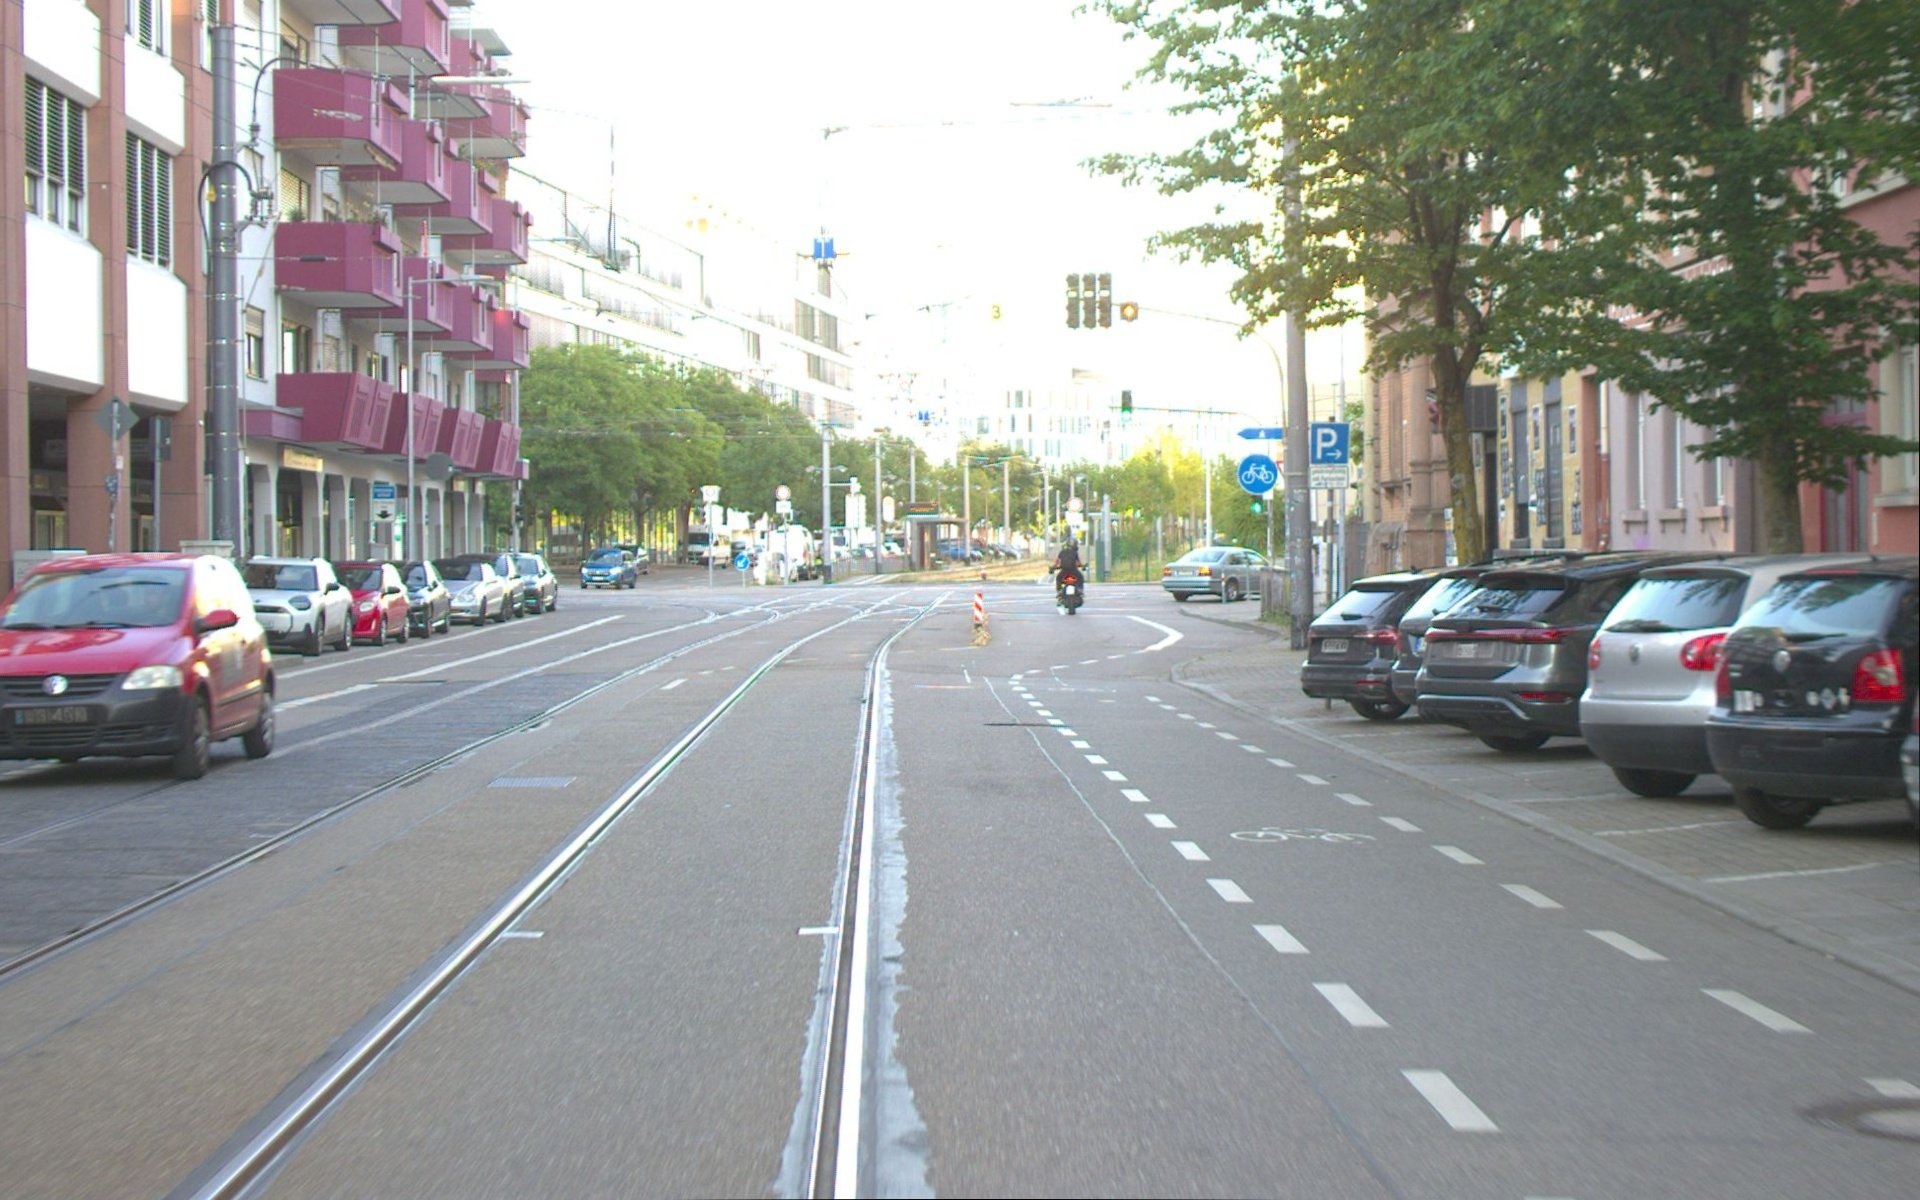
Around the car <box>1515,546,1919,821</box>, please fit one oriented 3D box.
[{"bbox_3d":[5.418,0.449,21.201,3.554,1.511,1.744,-2,1,-26],"label":"car"}]

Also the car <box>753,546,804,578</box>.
[{"bbox_3d":[-8.308,-1.743,157.641,1.683,1.434,4.125,0,1,6],"label":"car"}]

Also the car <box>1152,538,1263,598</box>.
[{"bbox_3d":[6.746,-0.884,93.355,1.719,1.550,4.198,1,1,23],"label":"car"}]

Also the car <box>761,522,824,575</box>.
[{"bbox_3d":[-7.961,-2.456,163.546,2.461,2.474,5.808,0,1,2],"label":"car"}]

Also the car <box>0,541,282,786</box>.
[{"bbox_3d":[-5.899,0.386,24.237,1.559,1.552,3.755,-2,1,-2],"label":"car"}]

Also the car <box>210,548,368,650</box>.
[{"bbox_3d":[-10.700,-0.045,55.036,1.717,1.550,4.204,1,1,-1],"label":"car"}]

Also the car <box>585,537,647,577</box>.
[{"bbox_3d":[-14.744,-1.859,147.423,1.683,1.694,4.238,0,1,8],"label":"car"}]

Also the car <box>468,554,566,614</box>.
[{"bbox_3d":[-11.151,-0.422,86.768,1.851,1.452,5.086,0,1,0],"label":"car"}]

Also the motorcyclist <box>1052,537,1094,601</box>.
[{"bbox_3d":[2.602,-0.715,79.091,0.828,1.468,1.207,0,1,-4],"label":"motorcyclist"}]

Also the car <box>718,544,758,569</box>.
[{"bbox_3d":[-13.512,-2.676,209.076,1.683,1.496,4.238,0,1,7],"label":"car"}]

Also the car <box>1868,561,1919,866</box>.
[{"bbox_3d":[6.257,0.495,16.228,3.481,1.424,1.621,-1,-1,-20],"label":"car"}]

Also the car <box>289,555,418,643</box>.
[{"bbox_3d":[-10.703,-0.043,60.843,1.611,1.474,3.479,2,1,0],"label":"car"}]

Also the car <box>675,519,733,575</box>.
[{"bbox_3d":[-14.831,-3.088,199.808,2.202,3.141,6.141,0,1,7],"label":"car"}]

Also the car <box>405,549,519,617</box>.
[{"bbox_3d":[-10.850,-0.390,75.190,1.691,1.409,4.677,2,1,1],"label":"car"}]

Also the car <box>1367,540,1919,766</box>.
[{"bbox_3d":[5.569,0.346,26.190,4.443,1.511,2.064,-2,1,-24],"label":"car"}]

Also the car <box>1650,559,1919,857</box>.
[{"bbox_3d":[5.667,0.492,18.415,3.554,1.424,1.669,-2,1,-26],"label":"car"}]

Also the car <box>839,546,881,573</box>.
[{"bbox_3d":[-5.324,-2.166,182.639,1.683,1.434,4.125,0,1,6],"label":"car"}]

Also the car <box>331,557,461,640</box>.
[{"bbox_3d":[-10.949,-0.056,67.023,1.993,1.474,4.483,2,1,-3],"label":"car"}]

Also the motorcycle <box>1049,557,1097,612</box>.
[{"bbox_3d":[2.600,-0.360,79.181,0.828,1.236,2.492,0,1,-4],"label":"motorcycle"}]

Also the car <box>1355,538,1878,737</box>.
[{"bbox_3d":[5.562,0.299,29.121,3.986,1.487,1.831,-2,0,-25],"label":"car"}]

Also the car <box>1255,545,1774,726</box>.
[{"bbox_3d":[5.220,0.292,32.256,4.604,1.452,1.711,-3,1,-25],"label":"car"}]
